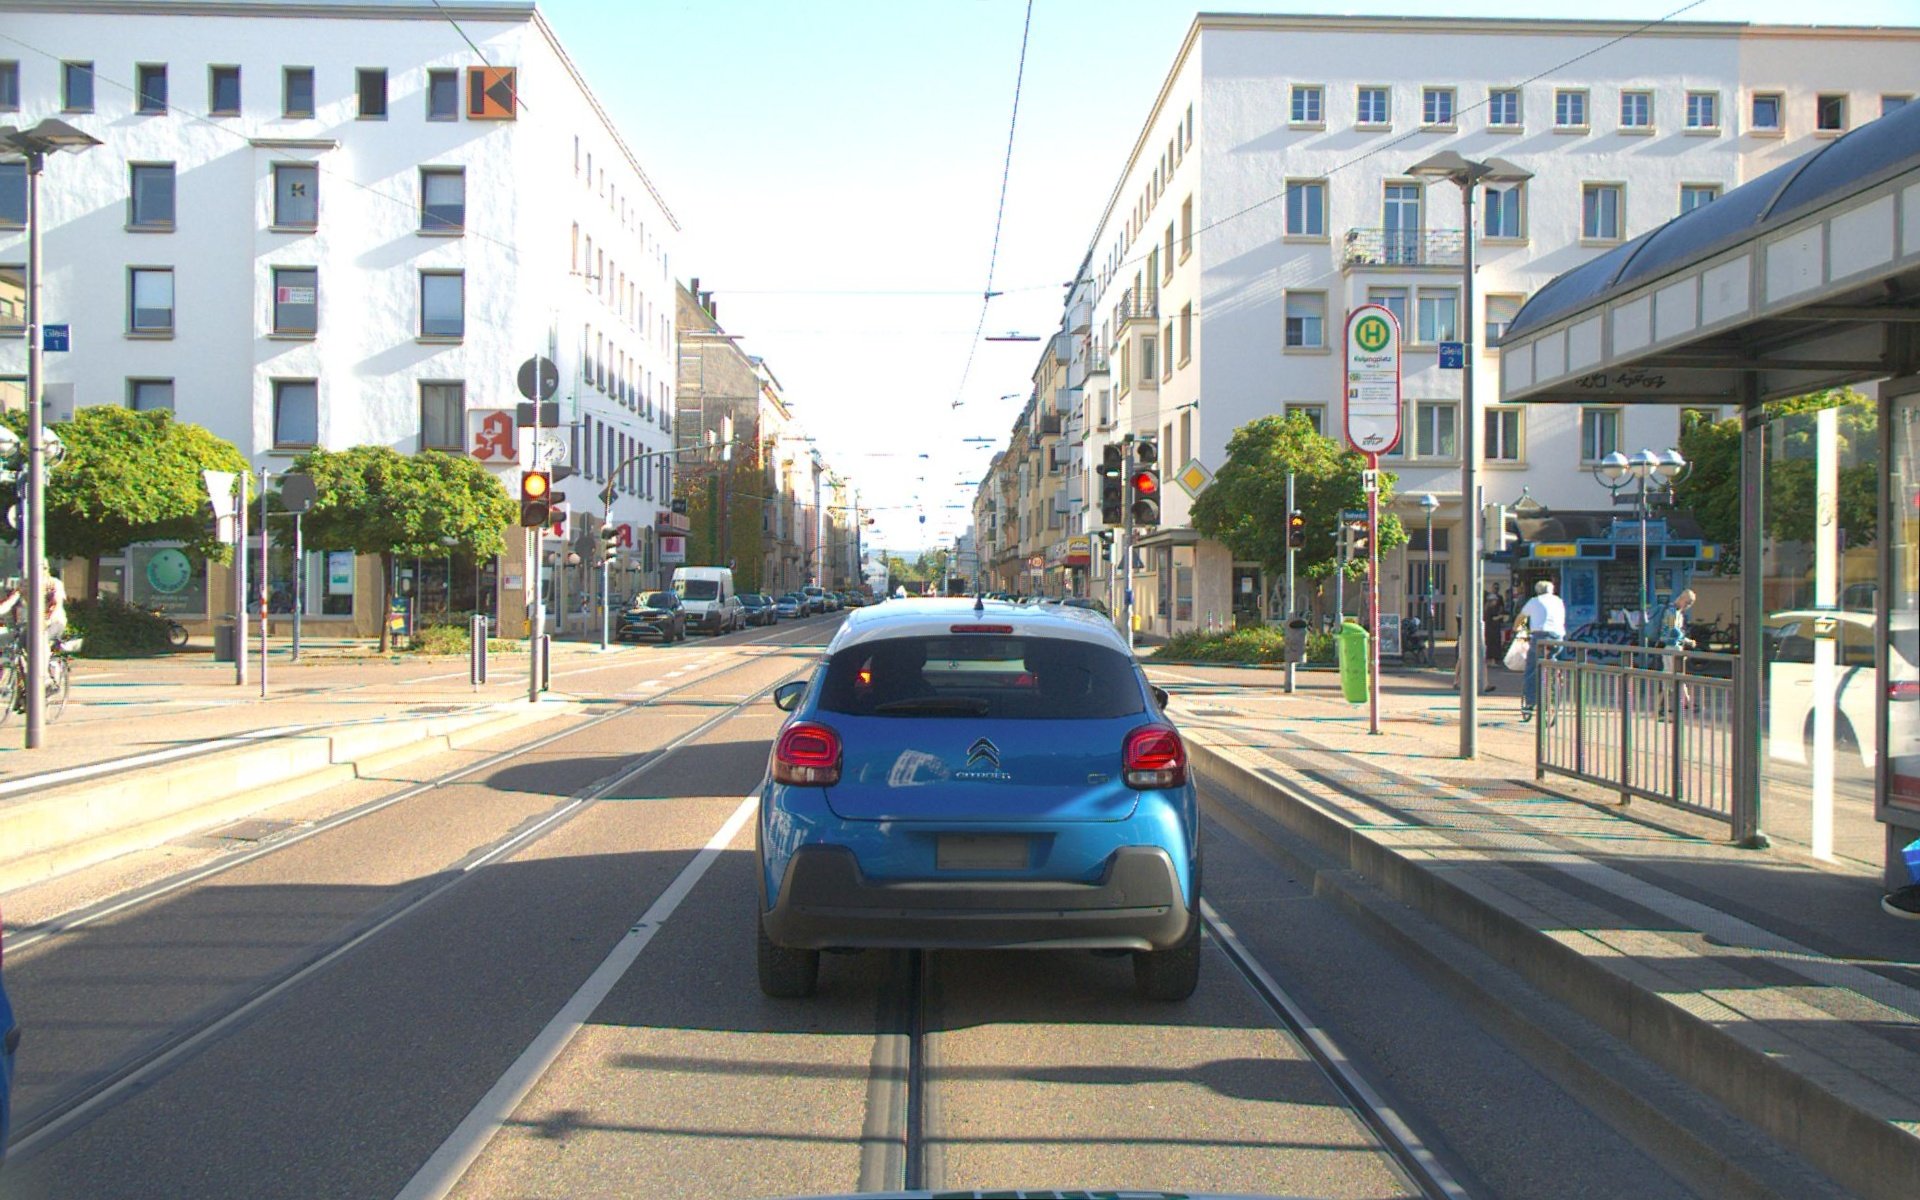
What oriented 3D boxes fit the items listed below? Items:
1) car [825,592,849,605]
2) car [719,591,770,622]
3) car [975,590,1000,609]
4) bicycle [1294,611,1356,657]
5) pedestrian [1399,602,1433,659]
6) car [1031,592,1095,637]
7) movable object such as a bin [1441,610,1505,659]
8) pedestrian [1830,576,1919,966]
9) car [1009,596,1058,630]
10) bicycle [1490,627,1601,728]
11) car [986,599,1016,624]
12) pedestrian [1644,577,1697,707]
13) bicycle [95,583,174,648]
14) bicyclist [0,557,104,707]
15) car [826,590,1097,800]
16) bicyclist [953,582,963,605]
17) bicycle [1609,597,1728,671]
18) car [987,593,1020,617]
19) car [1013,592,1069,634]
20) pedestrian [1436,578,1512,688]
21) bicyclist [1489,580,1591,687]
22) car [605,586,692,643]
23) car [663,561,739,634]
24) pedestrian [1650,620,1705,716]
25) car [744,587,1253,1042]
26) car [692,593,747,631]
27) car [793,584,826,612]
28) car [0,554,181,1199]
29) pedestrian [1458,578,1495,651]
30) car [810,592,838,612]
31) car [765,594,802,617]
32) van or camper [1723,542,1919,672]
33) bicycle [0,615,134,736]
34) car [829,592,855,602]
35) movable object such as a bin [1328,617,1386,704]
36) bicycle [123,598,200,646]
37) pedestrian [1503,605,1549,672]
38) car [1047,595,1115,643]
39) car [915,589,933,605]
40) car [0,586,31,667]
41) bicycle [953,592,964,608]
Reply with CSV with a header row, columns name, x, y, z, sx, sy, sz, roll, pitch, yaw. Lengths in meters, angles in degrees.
name,x,y,z,sx,sy,sz,roll,pitch,yaw
car,-11.402,-0.162,153.362,1.953,1.176,4.000,0,0,0
car,-10.112,0.310,78.003,1.953,1.422,4.155,1,0,-2
car,2.227,-0.066,133.258,1.953,1.489,4.000,0,0,0
bicycle,9.425,0.871,42.766,1.534,1.140,0.300,1,-1,10
pedestrian,10.830,0.718,39.279,0.725,1.339,0.628,0,0,22
car,3.527,0.470,57.097,1.953,1.489,4.000,0,0,0
movable object such as a bin,12.536,0.834,40.447,1.174,1.173,1.217,0,0,0
pedestrian,3.583,0.573,5.367,0.978,1.246,0.923,3,-1,-1
car,3.237,0.558,73.400,1.953,1.489,4.000,0,0,0
bicycle,7.076,0.908,20.094,0.703,1.080,2.324,2,0,5
car,2.733,0.752,109.669,1.952,1.579,4.001,0,0,1
pedestrian,9.883,0.579,23.026,0.546,1.775,0.527,1,-1,10
bicycle,-21.337,0.388,42.811,0.605,1.635,2.621,0,0,3
bicyclist,-9.407,0.320,16.876,0.810,1.481,0.878,1,-1,7
car,-0.030,0.686,14.437,1.944,1.490,4.814,1,0,-1
bicyclist,-0.162,-0.608,147.341,0.793,2.049,0.922,1,-1,-1
bicycle,15.887,0.748,37.107,2.336,1.558,0.726,2,0,-2
car,2.656,0.304,102.141,1.953,1.489,4.504,0,0,0
car,3.053,0.471,62.990,1.953,1.527,4.000,0,0,0
pedestrian,9.153,0.587,29.482,0.961,1.910,1.128,0,-1,-3
bicyclist,7.090,0.400,20.263,0.931,1.247,0.934,2,0,5
car,-9.792,0.447,52.279,1.953,1.596,4.401,3,0,-2
car,-9.737,-0.082,62.642,2.043,2.586,6.203,1,0,-2
pedestrian,9.507,0.895,21.919,0.546,1.247,0.527,1,-1,10
car,0.102,0.721,7.497,1.693,1.508,3.826,1,0,-1
car,-10.049,0.497,69.383,1.850,1.522,3.560,1,0,-2
car,-11.482,-0.112,126.675,1.965,2.049,4.690,1,0,1
car,-2.568,0.692,1.901,1.634,1.513,3.997,-1,0,-4
pedestrian,13.320,0.361,42.675,0.768,1.871,0.678,0,0,2
car,-11.190,0.151,136.478,1.914,1.579,3.939,1,0,1
car,-10.970,0.356,103.049,1.953,1.348,3.921,1,0,-2
van or camper,20.977,0.118,36.737,6.976,2.795,2.371,0,1,0
bicycle,-9.406,0.734,16.897,0.712,1.132,1.978,1,0,8
car,-13.175,-0.328,184.649,1.951,1.176,4.518,0,0,8
movable object such as a bin,3.730,0.560,15.545,0.439,0.800,0.489,0,0,2
bicycle,-20.628,0.548,42.797,0.605,1.211,2.621,0,0,2
pedestrian,12.687,0.859,37.087,0.715,1.434,0.755,0,3,-1
car,3.809,0.577,52.568,1.870,1.489,4.000,0,0,0
car,-4.005,-0.359,186.135,1.953,1.803,3.999,0,0,-1
car,-22.391,0.560,35.450,3.906,1.736,1.825,0,0,-1
bicycle,-0.122,0.009,147.392,0.901,1.413,3.131,0,0,-1
